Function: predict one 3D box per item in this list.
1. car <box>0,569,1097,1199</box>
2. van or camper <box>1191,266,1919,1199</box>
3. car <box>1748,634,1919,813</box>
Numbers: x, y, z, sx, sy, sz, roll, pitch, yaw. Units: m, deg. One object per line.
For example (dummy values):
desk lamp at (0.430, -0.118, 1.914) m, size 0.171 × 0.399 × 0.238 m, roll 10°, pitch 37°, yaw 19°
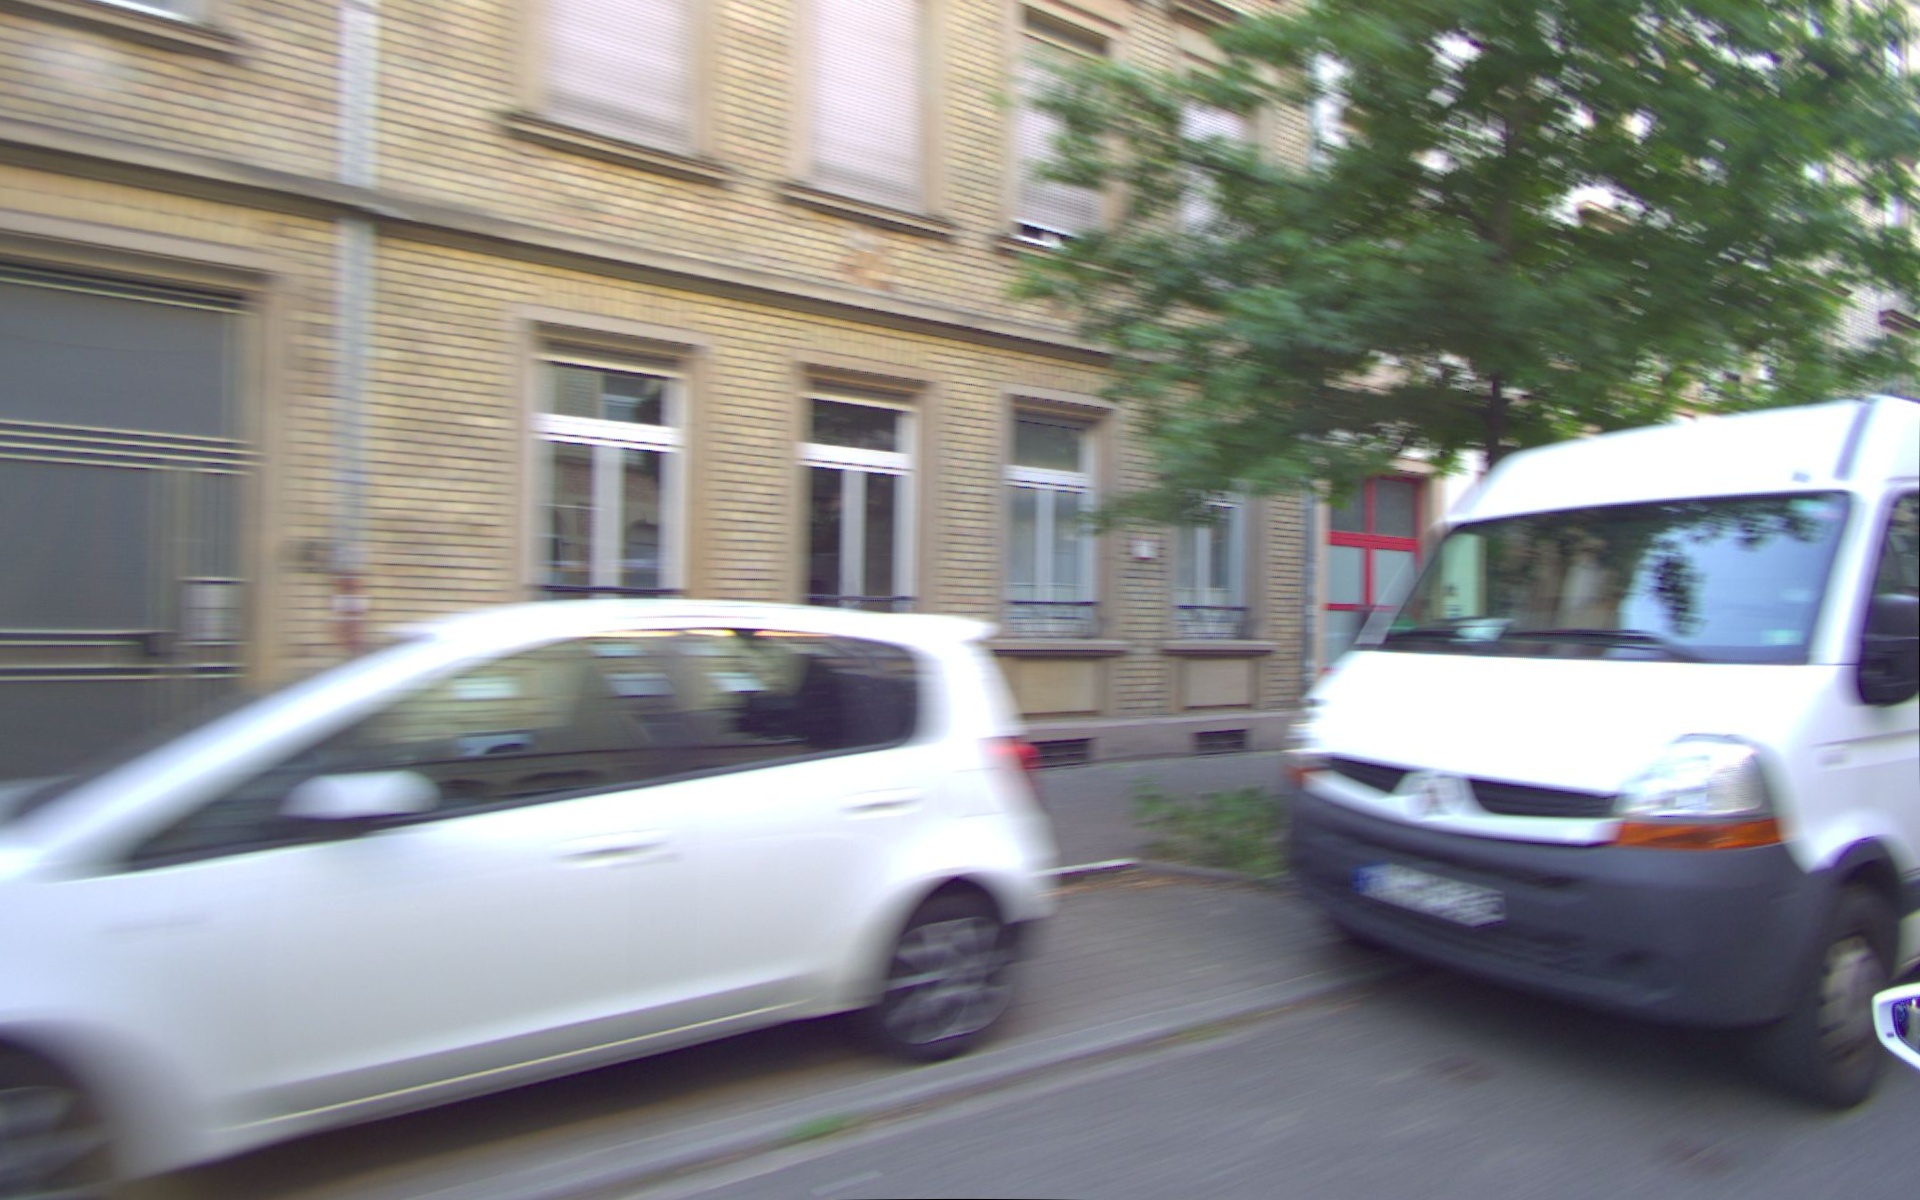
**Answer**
car at (-1.509, 0.749, 3.388) m, size 3.757 × 1.563 × 1.601 m, roll 2°, pitch -1°, yaw -32°
van or camper at (3.999, 0.446, 5.016) m, size 5.594 × 2.463 × 2.209 m, roll 2°, pitch -2°, yaw -31°
car at (9.931, 1.157, 10.225) m, size 4.066 × 1.530 × 1.675 m, roll 2°, pitch -1°, yaw -31°
